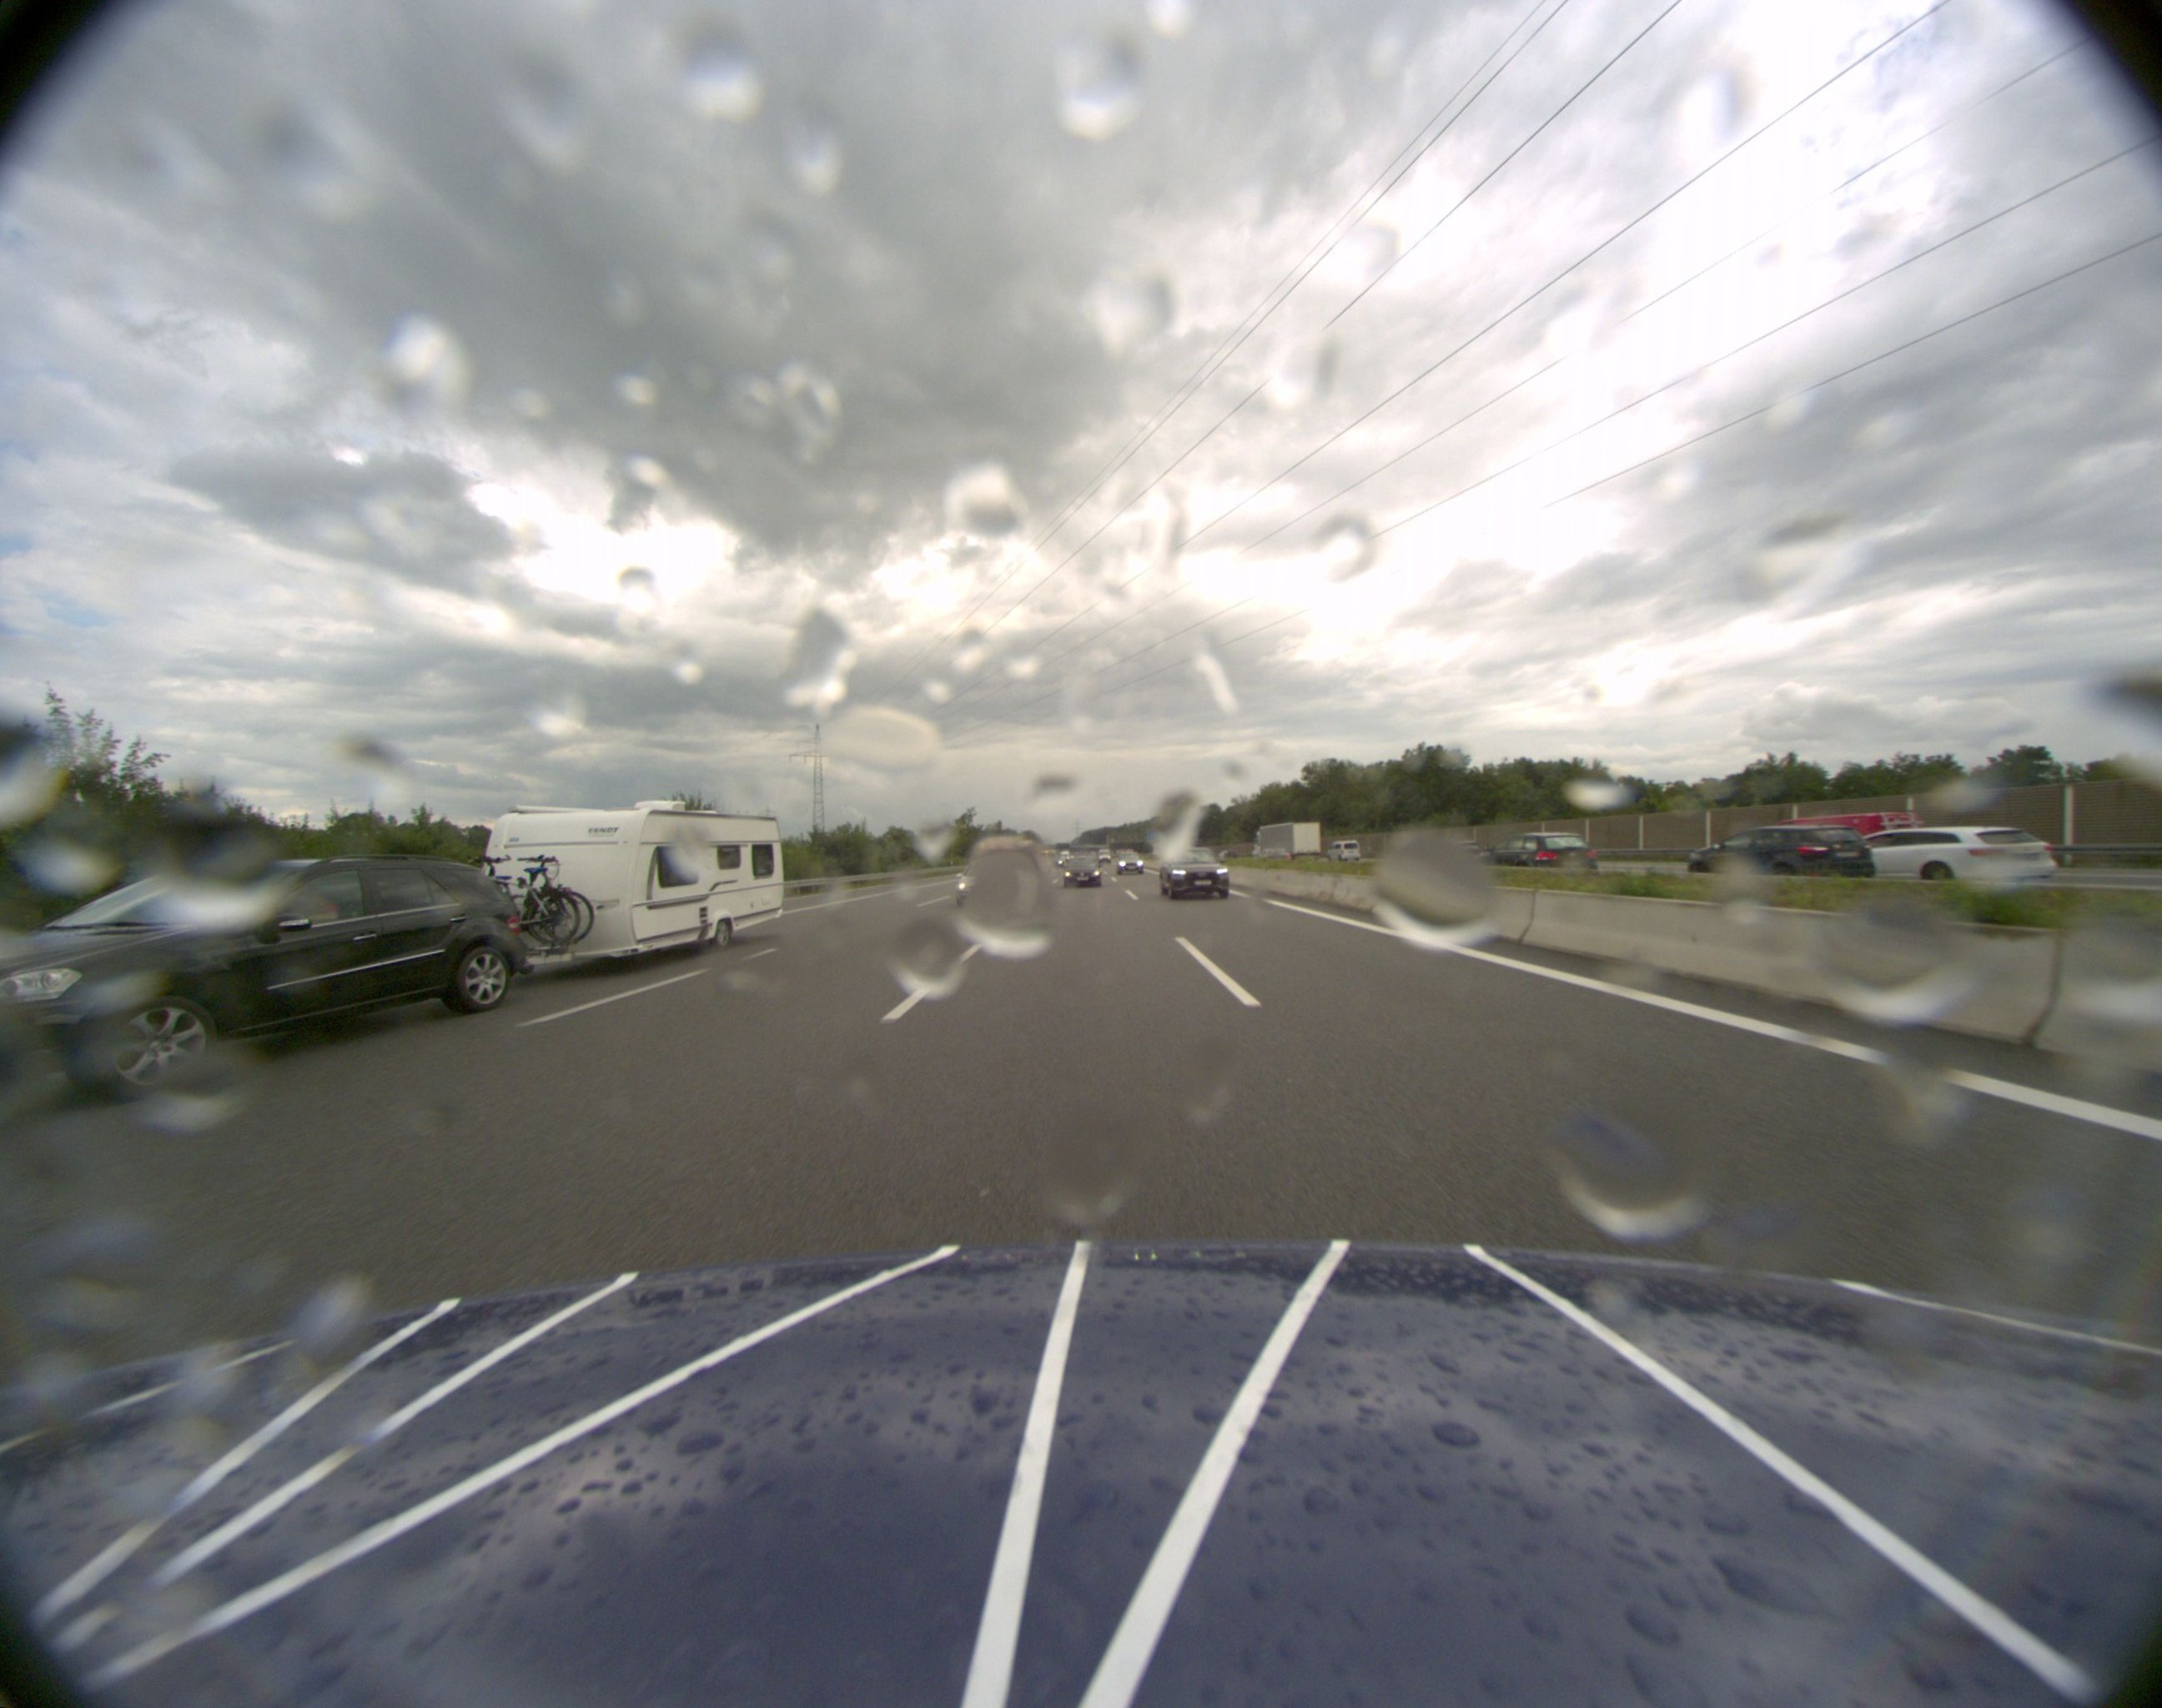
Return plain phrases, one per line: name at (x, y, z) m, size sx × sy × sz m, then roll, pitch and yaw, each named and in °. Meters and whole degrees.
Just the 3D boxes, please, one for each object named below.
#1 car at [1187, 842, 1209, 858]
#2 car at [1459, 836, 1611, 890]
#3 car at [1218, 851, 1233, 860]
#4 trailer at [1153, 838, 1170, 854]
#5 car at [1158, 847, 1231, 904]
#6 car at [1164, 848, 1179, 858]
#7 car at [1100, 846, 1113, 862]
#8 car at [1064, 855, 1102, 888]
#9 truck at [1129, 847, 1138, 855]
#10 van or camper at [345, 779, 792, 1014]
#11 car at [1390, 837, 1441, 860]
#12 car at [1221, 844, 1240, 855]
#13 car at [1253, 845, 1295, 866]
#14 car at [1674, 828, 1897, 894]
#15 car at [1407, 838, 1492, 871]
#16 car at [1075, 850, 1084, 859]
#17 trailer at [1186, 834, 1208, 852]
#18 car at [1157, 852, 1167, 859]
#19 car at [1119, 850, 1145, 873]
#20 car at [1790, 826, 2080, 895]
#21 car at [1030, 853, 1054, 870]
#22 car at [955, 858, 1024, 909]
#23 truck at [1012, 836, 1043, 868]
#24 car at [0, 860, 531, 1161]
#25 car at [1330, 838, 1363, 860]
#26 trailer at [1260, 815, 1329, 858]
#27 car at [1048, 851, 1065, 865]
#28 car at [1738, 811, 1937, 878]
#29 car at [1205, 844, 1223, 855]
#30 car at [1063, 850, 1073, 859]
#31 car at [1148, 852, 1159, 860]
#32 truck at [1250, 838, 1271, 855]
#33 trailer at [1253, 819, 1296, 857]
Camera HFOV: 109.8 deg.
car at (14.952, -0.545, 97.533) m, size 1.927 × 1.888 × 5.160 m, roll -3°, pitch 0°, yaw 0°
car at (14.185, 0.240, 24.170) m, size 1.831 × 1.446 × 4.942 m, roll -3°, pitch 0°, yaw 0°
car at (26.338, 0.282, 138.527) m, size 1.770 × 1.487 × 5.160 m, roll -3°, pitch 0°, yaw 0°
trailer at (21.478, -2.132, 202.799) m, size 2.732 × 3.863 × 14.050 m, roll -3°, pitch 0°, yaw 0°
car at (3.770, 0.637, 26.013) m, size 1.913 × 1.681 × 5.169 m, roll -2°, pitch 1°, yaw 3°
car at (14.552, -0.144, 122.516) m, size 1.770 × 1.528 × 4.482 m, roll -3°, pitch 0°, yaw 0°
car at (4.239, -0.007, 126.770) m, size 1.998 × 2.524 × 4.808 m, roll -3°, pitch 1°, yaw 1°
car at (0.112, 0.799, 37.011) m, size 1.717 × 1.437 × 4.000 m, roll -2°, pitch 0°, yaw 1°
truck at (18.453, -1.155, 266.933) m, size 2.335 × 2.811 × 6.248 m, roll -3°, pitch 1°, yaw 0°
van or camper at (-7.528, 0.492, 12.737) m, size 2.390 × 2.723 × 7.208 m, roll -3°, pitch 0°, yaw 1°
car at (25.985, -0.431, 59.208) m, size 1.770 × 1.601 × 4.942 m, roll -3°, pitch 0°, yaw 0°
car at (21.988, -0.655, 111.884) m, size 1.770 × 1.528 × 5.160 m, roll -3°, pitch 0°, yaw 0°
car at (14.546, 0.070, 57.529) m, size 1.770 × 1.446 × 5.084 m, roll -3°, pitch 0°, yaw 0°
car at (17.834, 0.147, 19.563) m, size 1.770 × 1.446 × 4.233 m, roll -3°, pitch 0°, yaw 0°
car at (18.184, 0.008, 37.769) m, size 1.770 × 1.446 × 4.942 m, roll -3°, pitch 0°, yaw 0°
car at (-0.367, 0.081, 189.160) m, size 1.998 × 2.002 × 4.000 m, roll -3°, pitch 1°, yaw 1°
trailer at (26.728, -2.531, 175.713) m, size 2.684 × 3.941 × 14.051 m, roll -3°, pitch 0°, yaw 1°
car at (18.184, 0.384, 171.041) m, size 1.770 × 1.528 × 5.239 m, roll -3°, pitch 0°, yaw 0°
car at (3.816, 0.532, 57.449) m, size 1.840 × 1.615 × 4.915 m, roll -2°, pitch 0°, yaw 3°
car at (21.240, 0.117, 19.306) m, size 1.770 × 1.446 × 4.942 m, roll -3°, pitch 0°, yaw 0°
car at (-3.537, 0.656, 69.690) m, size 1.840 × 1.437 × 4.000 m, roll -2°, pitch 0°, yaw 1°
car at (-2.925, 0.918, 25.101) m, size 1.683 × 1.437 × 4.000 m, roll -2°, pitch 0°, yaw 1°
truck at (-6.498, -0.293, 94.070) m, size 2.870 × 3.633 × 9.594 m, roll -3°, pitch 0°, yaw 1°
car at (-7.557, 1.009, 6.753) m, size 1.925 × 1.766 × 4.502 m, roll -2°, pitch 0°, yaw 1°
car at (26.499, -0.499, 75.956) m, size 2.008 × 2.002 × 4.000 m, roll -3°, pitch 1°, yaw 2°
trailer at (22.026, -1.726, 79.449) m, size 3.327 × 4.038 × 13.286 m, roll -3°, pitch 0°, yaw 0°
car at (-3.150, 0.537, 97.930) m, size 1.999 × 1.701 × 3.999 m, roll -3°, pitch 1°, yaw 0°
car at (25.355, -0.308, 25.785) m, size 1.770 × 1.956 × 4.942 m, roll -3°, pitch 0°, yaw 0°
car at (20.115, -0.642, 115.103) m, size 1.770 × 1.528 × 5.160 m, roll -3°, pitch 0°, yaw 0°
car at (-2.914, 0.107, 171.895) m, size 1.998 × 2.002 × 4.000 m, roll -3°, pitch 1°, yaw 1°
car at (15.013, 0.408, 157.316) m, size 1.770 × 1.528 × 5.160 m, roll -3°, pitch 0°, yaw 0°
truck at (26.104, -1.096, 110.509) m, size 2.120 × 2.403 × 5.798 m, roll -3°, pitch 1°, yaw 5°
trailer at (22.072, -1.780, 87.006) m, size 3.327 × 4.020 × 6.078 m, roll -3°, pitch 1°, yaw 0°
